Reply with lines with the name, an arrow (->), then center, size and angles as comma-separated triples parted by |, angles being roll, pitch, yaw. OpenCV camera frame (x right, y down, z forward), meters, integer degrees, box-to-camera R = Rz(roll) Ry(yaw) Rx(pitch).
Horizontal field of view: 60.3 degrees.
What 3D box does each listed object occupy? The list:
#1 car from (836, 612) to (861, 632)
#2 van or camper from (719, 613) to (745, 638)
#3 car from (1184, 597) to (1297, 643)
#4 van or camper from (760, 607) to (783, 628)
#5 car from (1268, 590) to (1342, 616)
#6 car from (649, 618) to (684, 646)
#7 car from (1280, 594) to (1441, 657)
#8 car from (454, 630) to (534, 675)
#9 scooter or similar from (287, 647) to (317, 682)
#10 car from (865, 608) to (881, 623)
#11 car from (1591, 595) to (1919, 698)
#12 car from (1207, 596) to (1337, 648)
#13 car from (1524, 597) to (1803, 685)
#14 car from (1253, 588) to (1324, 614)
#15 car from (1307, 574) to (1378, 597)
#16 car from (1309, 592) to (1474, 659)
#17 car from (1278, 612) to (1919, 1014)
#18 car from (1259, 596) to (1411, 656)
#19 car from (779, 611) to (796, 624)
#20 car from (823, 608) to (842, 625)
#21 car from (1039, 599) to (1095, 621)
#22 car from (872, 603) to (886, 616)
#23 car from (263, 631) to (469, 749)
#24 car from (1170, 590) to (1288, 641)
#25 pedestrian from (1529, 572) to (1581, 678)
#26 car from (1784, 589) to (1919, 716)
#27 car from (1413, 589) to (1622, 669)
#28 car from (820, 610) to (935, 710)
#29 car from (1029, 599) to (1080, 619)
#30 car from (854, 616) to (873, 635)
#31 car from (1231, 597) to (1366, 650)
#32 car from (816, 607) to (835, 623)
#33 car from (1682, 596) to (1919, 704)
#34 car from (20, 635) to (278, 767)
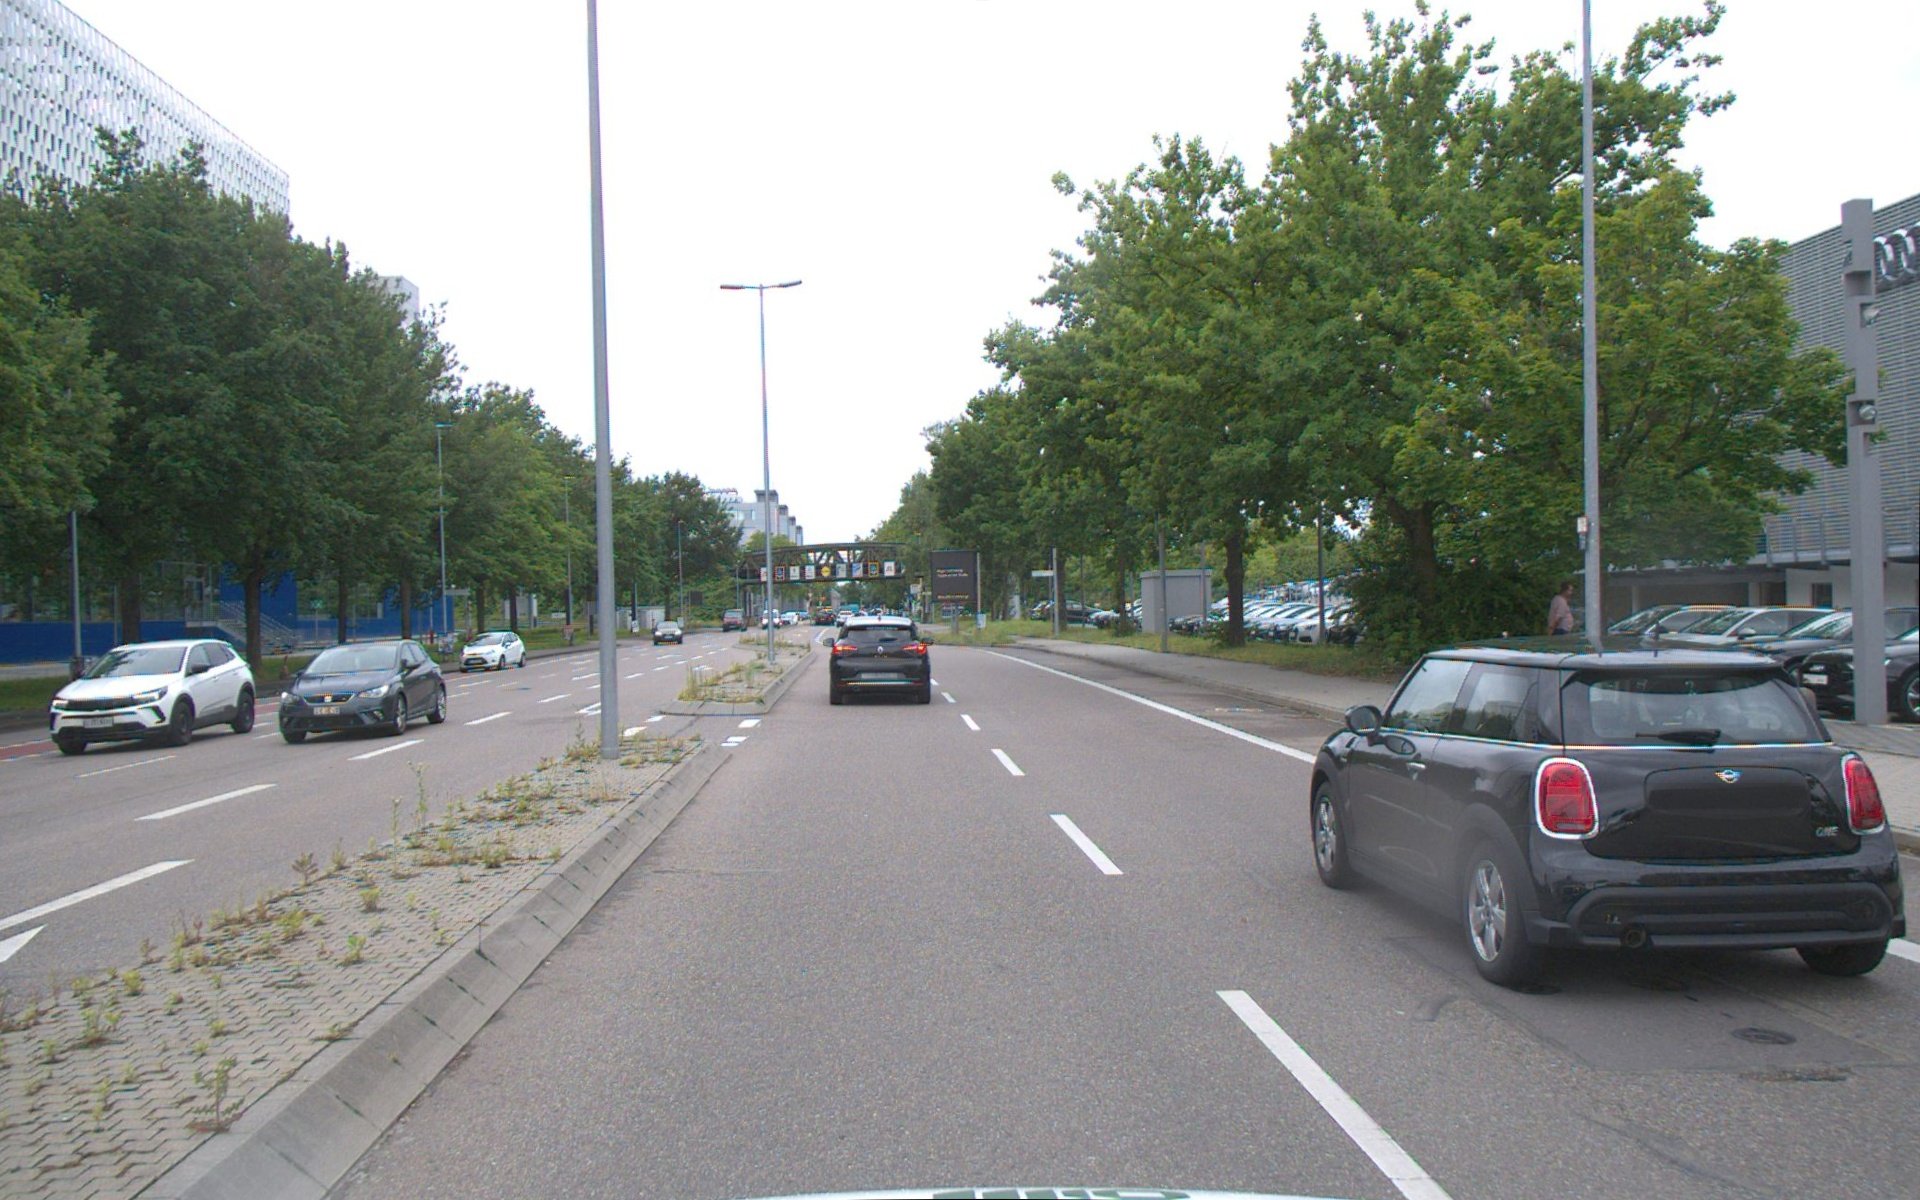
car -> -10.573, 2.048, 156.839 | 2.092, 1.691, 3.782 | -1, 1, -1
van or camper -> -20.271, 2.219, 147.274 | 1.838, 2.021, 4.886 | -3, 0, -3
car -> 11.210, 0.789, 66.305 | 4.092, 1.470, 1.959 | 4, 1, -2
van or camper -> -17.467, 1.590, 153.503 | 1.721, 1.777, 4.404 | -5, 0, -3
car -> 20.398, 0.164, 97.846 | 4.005, 1.460, 1.729 | -1, 1, -5
car -> -18.326, 2.008, 103.407 | 1.883, 1.528, 4.243 | -4, -1, -8
car -> 11.659, 0.729, 48.304 | 4.113, 1.511, 1.958 | 3, 1, -4
car -> -18.346, 2.026, 65.347 | 1.819, 1.487, 4.332 | -3, 1, 1
scooter or similar -> -23.770, 2.316, 59.761 | 0.642, 1.217, 1.376 | 0, 0, -6
car -> -11.281, 2.037, 215.516 | 1.910, 1.847, 4.000 | -1, 1, -1
car -> 12.620, 0.710, 26.174 | 4.557, 1.497, 1.846 | 1, 0, -4
car -> 11.524, 0.796, 61.331 | 4.306, 1.546, 1.999 | 4, 1, -3
car -> 12.265, 0.698, 28.988 | 4.121, 1.446, 1.854 | 1, 0, -4
car -> 20.164, 0.065, 101.542 | 4.005, 1.460, 1.729 | -1, 1, -5
car -> 24.643, -0.939, 106.685 | 4.116, 1.460, 1.729 | -1, 1, -5
car -> 11.897, 0.692, 45.710 | 3.983, 1.511, 1.818 | 4, 1, -4
car -> 2.959, 0.831, 8.232 | 1.751, 1.440, 3.639 | -2, 0, -5
car -> 11.490, 0.775, 50.859 | 4.098, 1.511, 1.976 | 3, 1, -3
car -> -21.122, 2.111, 202.773 | 1.718, 1.472, 3.339 | -1, 1, -1
car -> -15.009, 1.981, 194.645 | 1.910, 1.847, 4.000 | -1, 1, -1
car -> 7.617, 0.725, 117.690 | 3.903, 1.460, 1.731 | -1, 1, 3
car -> -12.128, 1.444, 248.645 | 1.910, 1.847, 4.000 | -1, 1, -1
car -> -9.260, 1.351, 26.166 | 1.820, 1.487, 4.329 | -3, 1, -3
car -> 11.157, 0.648, 68.906 | 4.459, 1.731, 2.000 | 4, 1, -2
pedestrian -> 10.842, 0.452, 30.145 | 0.658, 1.904, 0.719 | 0, -1, -4
car -> 12.923, 0.672, 20.729 | 4.279, 1.496, 1.893 | 1, 0, -4
car -> 12.675, 0.649, 37.734 | 4.042, 1.417, 1.870 | 5, 1, -4
car -> -1.340, 0.966, 28.280 | 1.721, 1.459, 4.000 | -2, 1, 0
car -> 7.403, 0.678, 129.723 | 3.903, 1.460, 1.731 | -1, 1, 3
car -> -10.772, 2.847, 185.558 | 1.910, 1.847, 4.000 | -1, 1, -1
car -> 11.454, 0.771, 56.149 | 4.092, 1.481, 1.933 | 3, 1, -2
car -> -15.276, 1.663, 187.930 | 1.846, 1.691, 3.782 | -1, 1, -1
car -> 12.695, 0.700, 23.481 | 4.072, 1.415, 1.901 | 1, 0, -4
car -> -12.833, 1.523, 26.534 | 1.955, 1.621, 4.574 | -5, 1, -3
